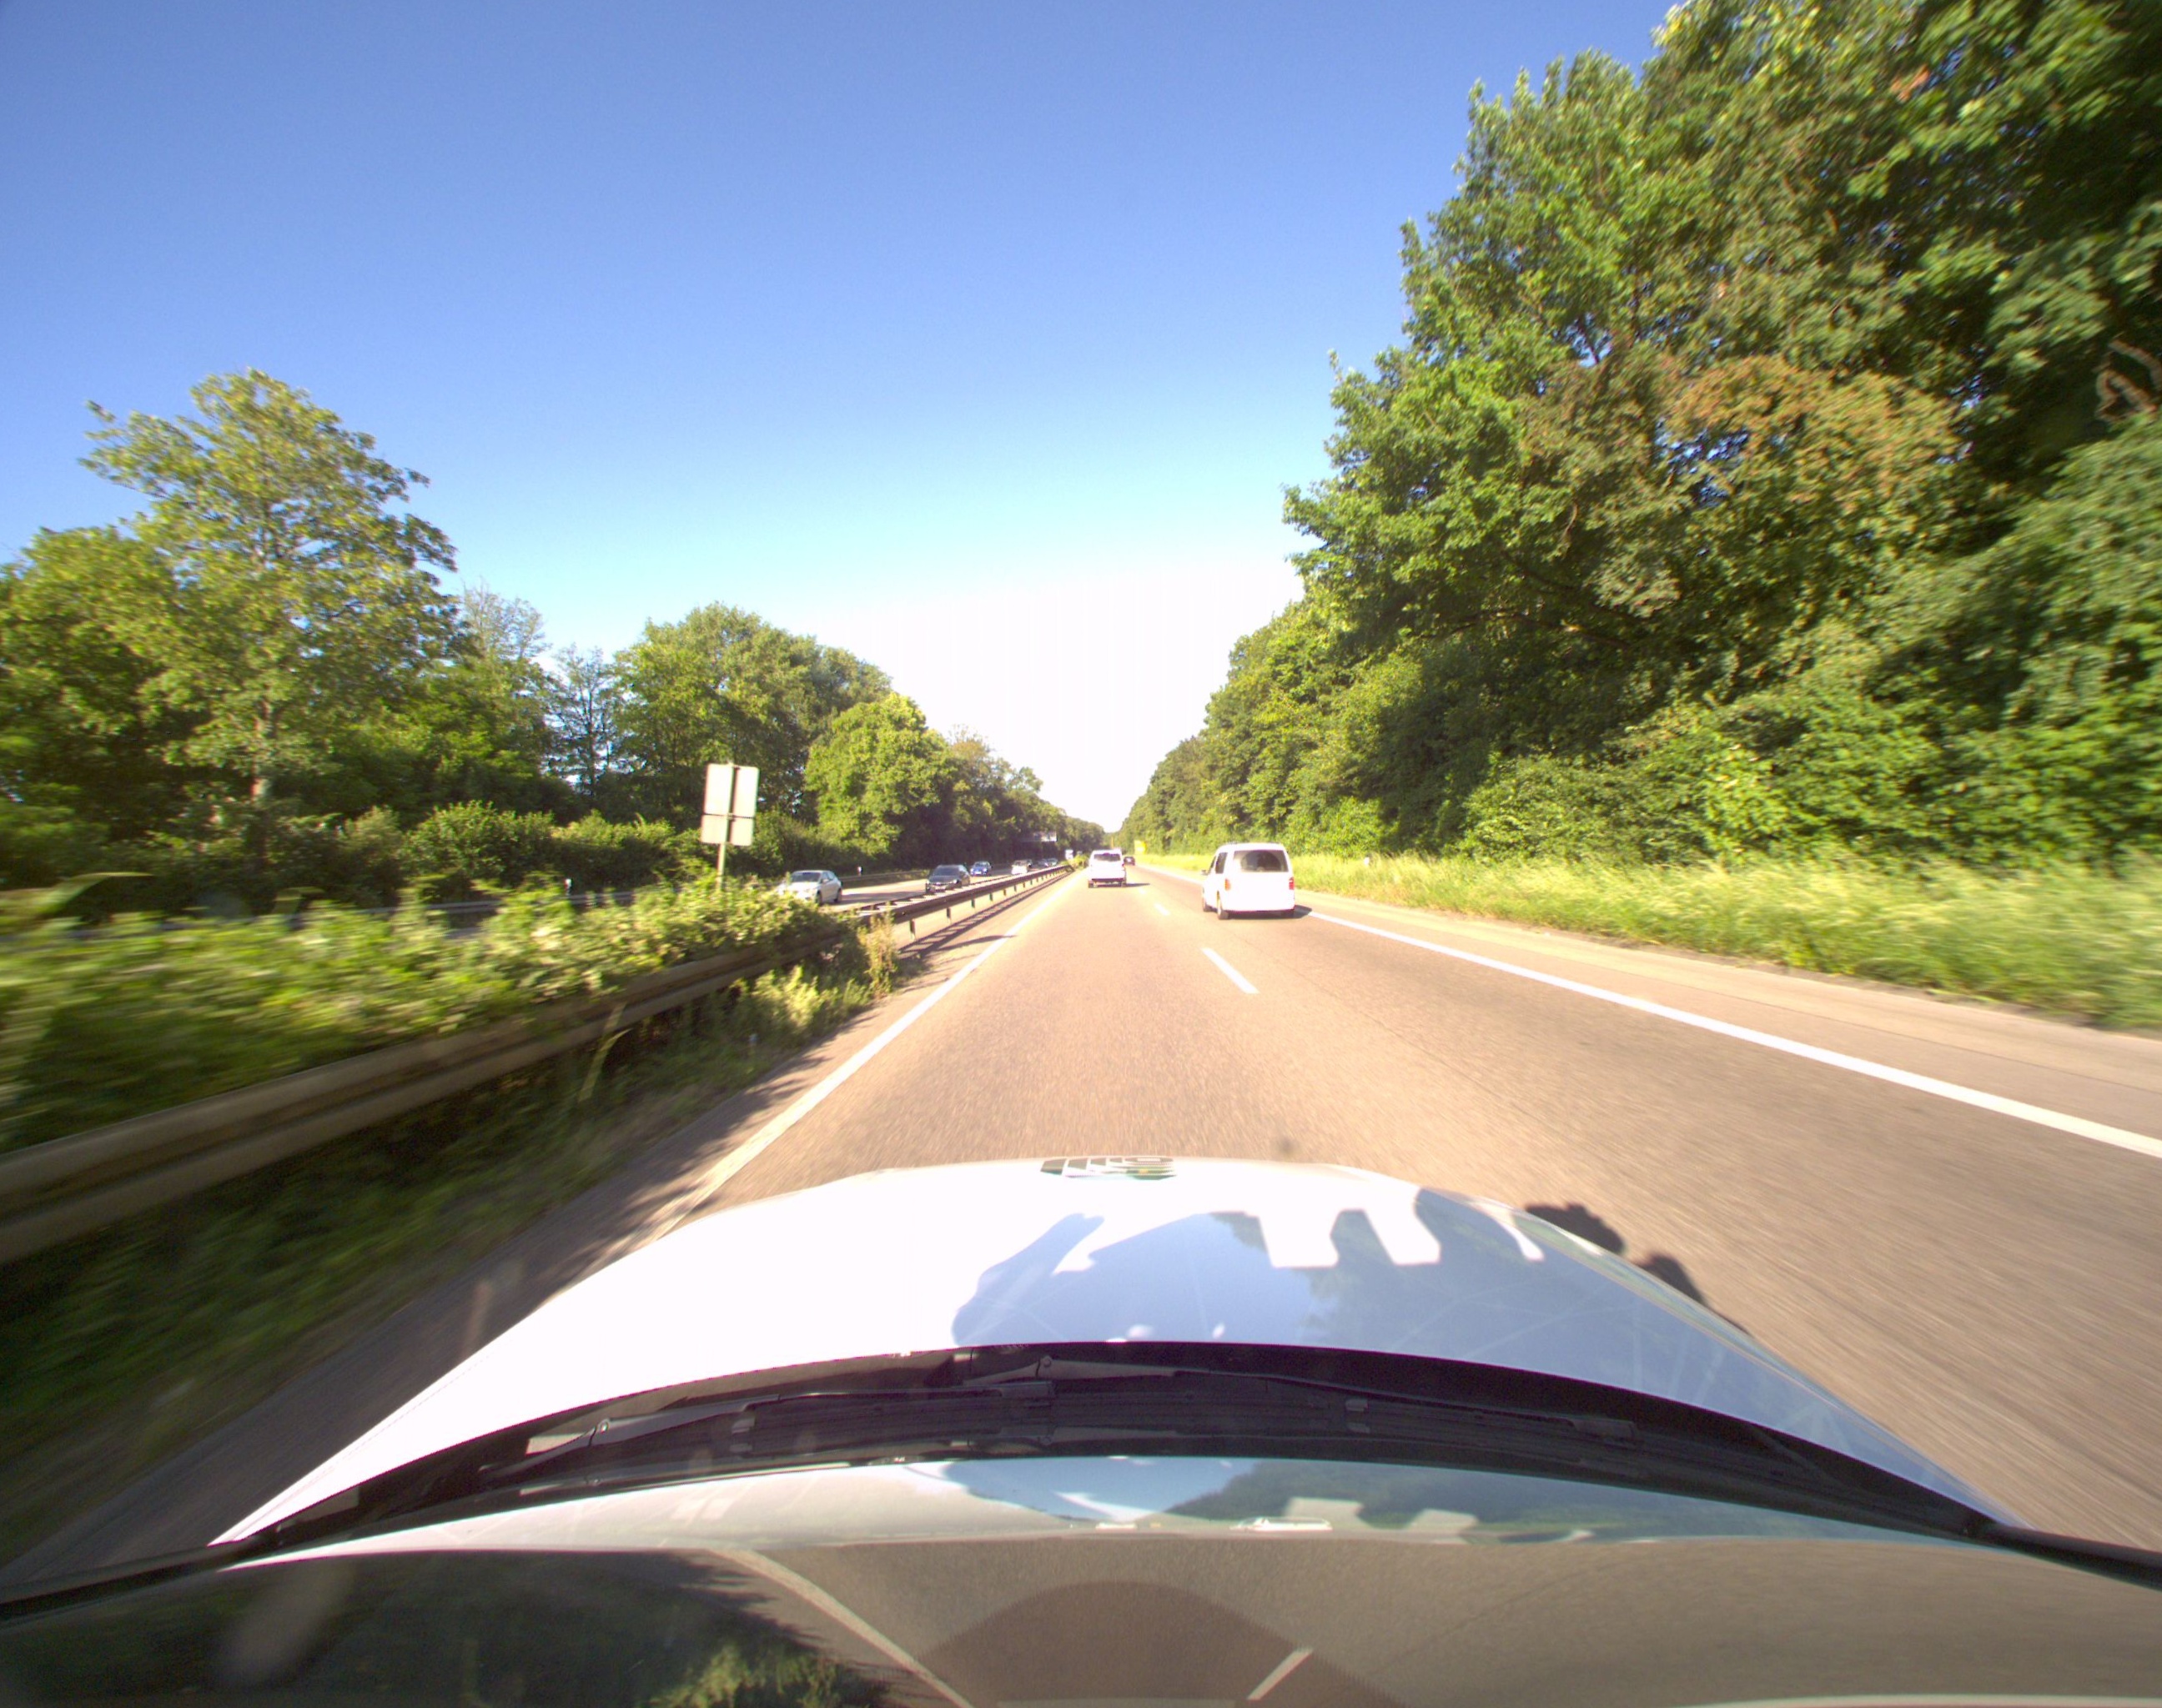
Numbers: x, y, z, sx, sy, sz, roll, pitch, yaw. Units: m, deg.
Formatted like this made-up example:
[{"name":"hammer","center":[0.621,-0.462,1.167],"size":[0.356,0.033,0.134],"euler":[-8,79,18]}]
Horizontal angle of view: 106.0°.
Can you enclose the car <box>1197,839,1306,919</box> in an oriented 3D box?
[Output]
[{"name":"car","center":[4.154,0.569,20.568],"size":[1.857,1.770,4.470],"euler":[-1,0,1]}]

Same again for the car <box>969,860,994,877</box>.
[{"name":"car","center":[-9.772,1.409,80.490],"size":[1.829,1.540,4.431],"euler":[-1,0,1]}]

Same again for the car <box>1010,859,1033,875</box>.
[{"name":"car","center":[-5.984,1.267,82.086],"size":[1.870,1.540,4.465],"euler":[-2,0,1]}]

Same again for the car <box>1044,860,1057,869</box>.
[{"name":"car","center":[-4.923,1.664,132.170],"size":[1.829,1.357,4.475],"euler":[-1,0,1]}]

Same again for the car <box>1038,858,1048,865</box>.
[{"name":"car","center":[-7.568,1.497,160.932],"size":[1.712,1.357,4.229],"euler":[-2,0,1]}]

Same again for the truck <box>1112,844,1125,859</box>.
[{"name":"truck","center":[10.920,-0.694,238.052],"size":[3.483,4.172,8.864],"euler":[-2,0,1]}]

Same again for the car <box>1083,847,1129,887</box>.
[{"name":"car","center":[1.161,0.602,40.035],"size":[2.079,1.828,3.999],"euler":[-1,0,0]}]

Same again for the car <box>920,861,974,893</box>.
[{"name":"car","center":[-6.971,1.165,42.772],"size":[1.953,1.540,4.466],"euler":[-1,0,1]}]

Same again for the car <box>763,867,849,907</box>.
[{"name":"car","center":[-11.175,1.290,33.383],"size":[1.953,1.450,4.327],"euler":[0,0,1]}]

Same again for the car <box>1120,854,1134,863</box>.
[{"name":"car","center":[6.981,0.678,123.192],"size":[1.986,1.398,4.001],"euler":[0,0,1]}]
